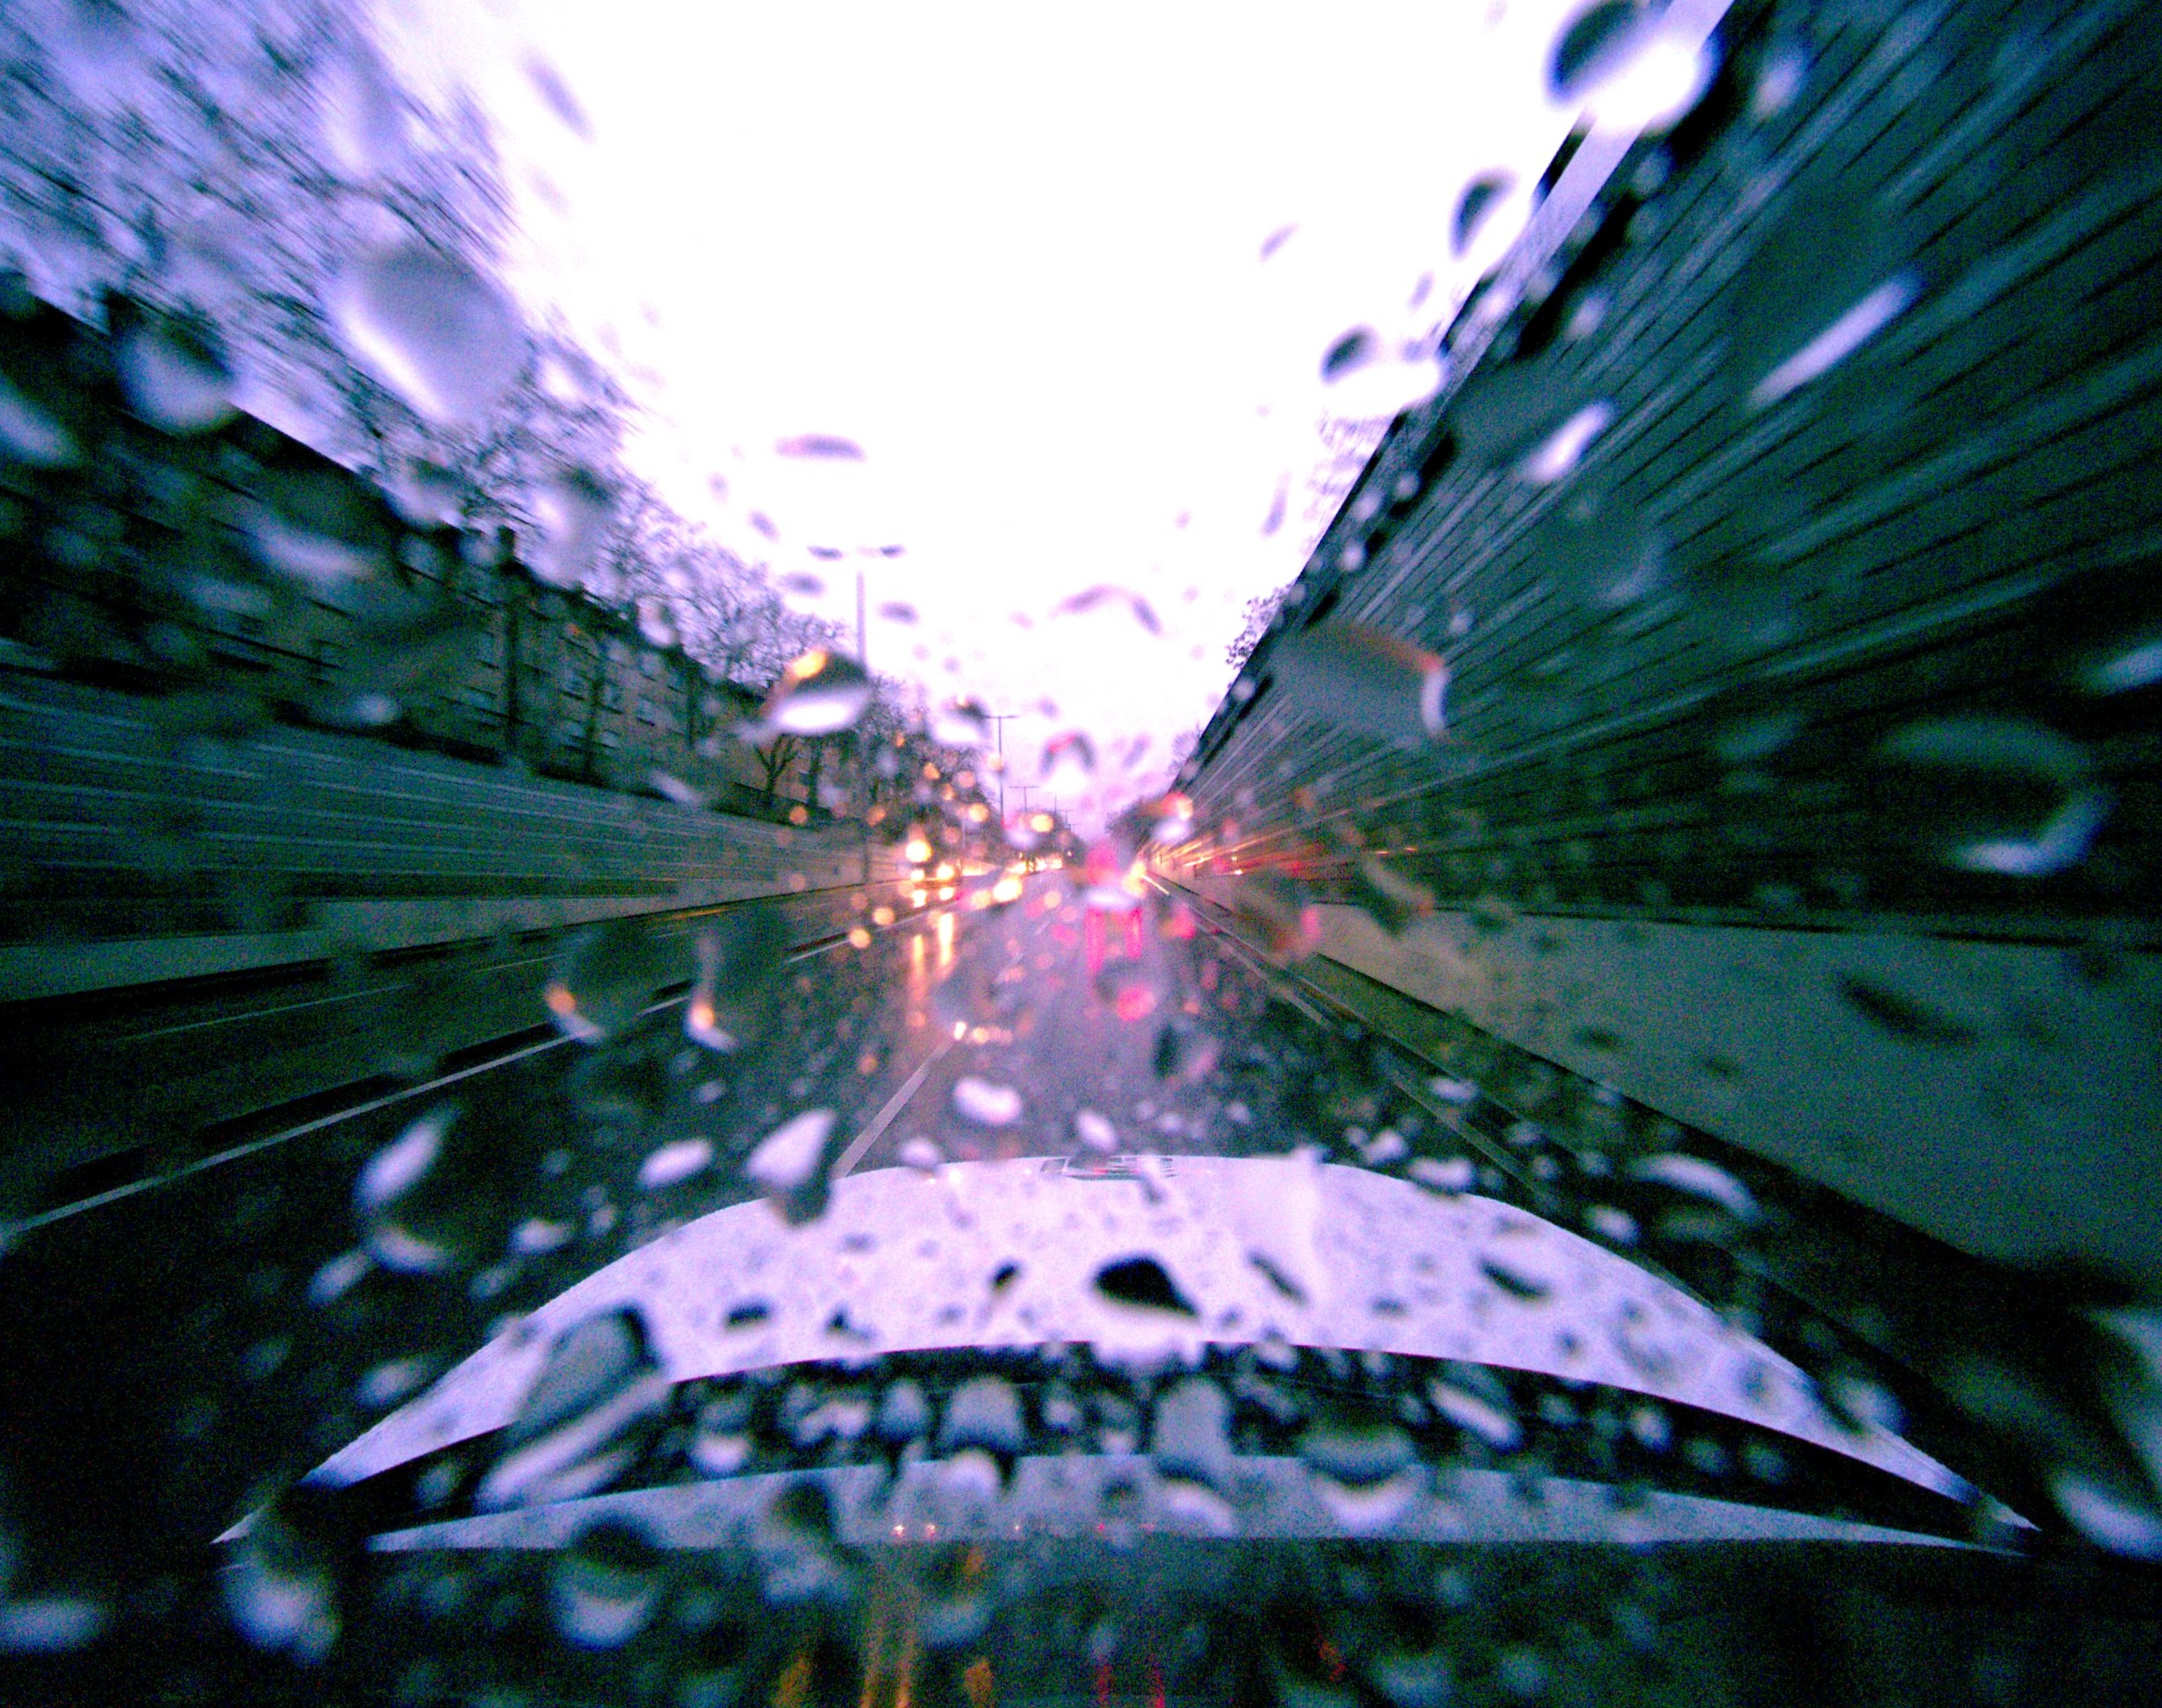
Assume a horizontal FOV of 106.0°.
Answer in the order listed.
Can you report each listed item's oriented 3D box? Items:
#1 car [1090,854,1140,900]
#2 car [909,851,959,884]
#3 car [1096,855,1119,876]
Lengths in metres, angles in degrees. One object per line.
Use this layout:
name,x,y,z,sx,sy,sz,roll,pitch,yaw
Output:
car,1.112,0.774,27.160,1.526,1.397,3.434,-1,-2,2
car,-7.008,0.608,39.142,1.566,1.471,3.688,-2,0,1
car,2.297,1.026,70.744,1.874,1.621,3.998,0,-3,0
